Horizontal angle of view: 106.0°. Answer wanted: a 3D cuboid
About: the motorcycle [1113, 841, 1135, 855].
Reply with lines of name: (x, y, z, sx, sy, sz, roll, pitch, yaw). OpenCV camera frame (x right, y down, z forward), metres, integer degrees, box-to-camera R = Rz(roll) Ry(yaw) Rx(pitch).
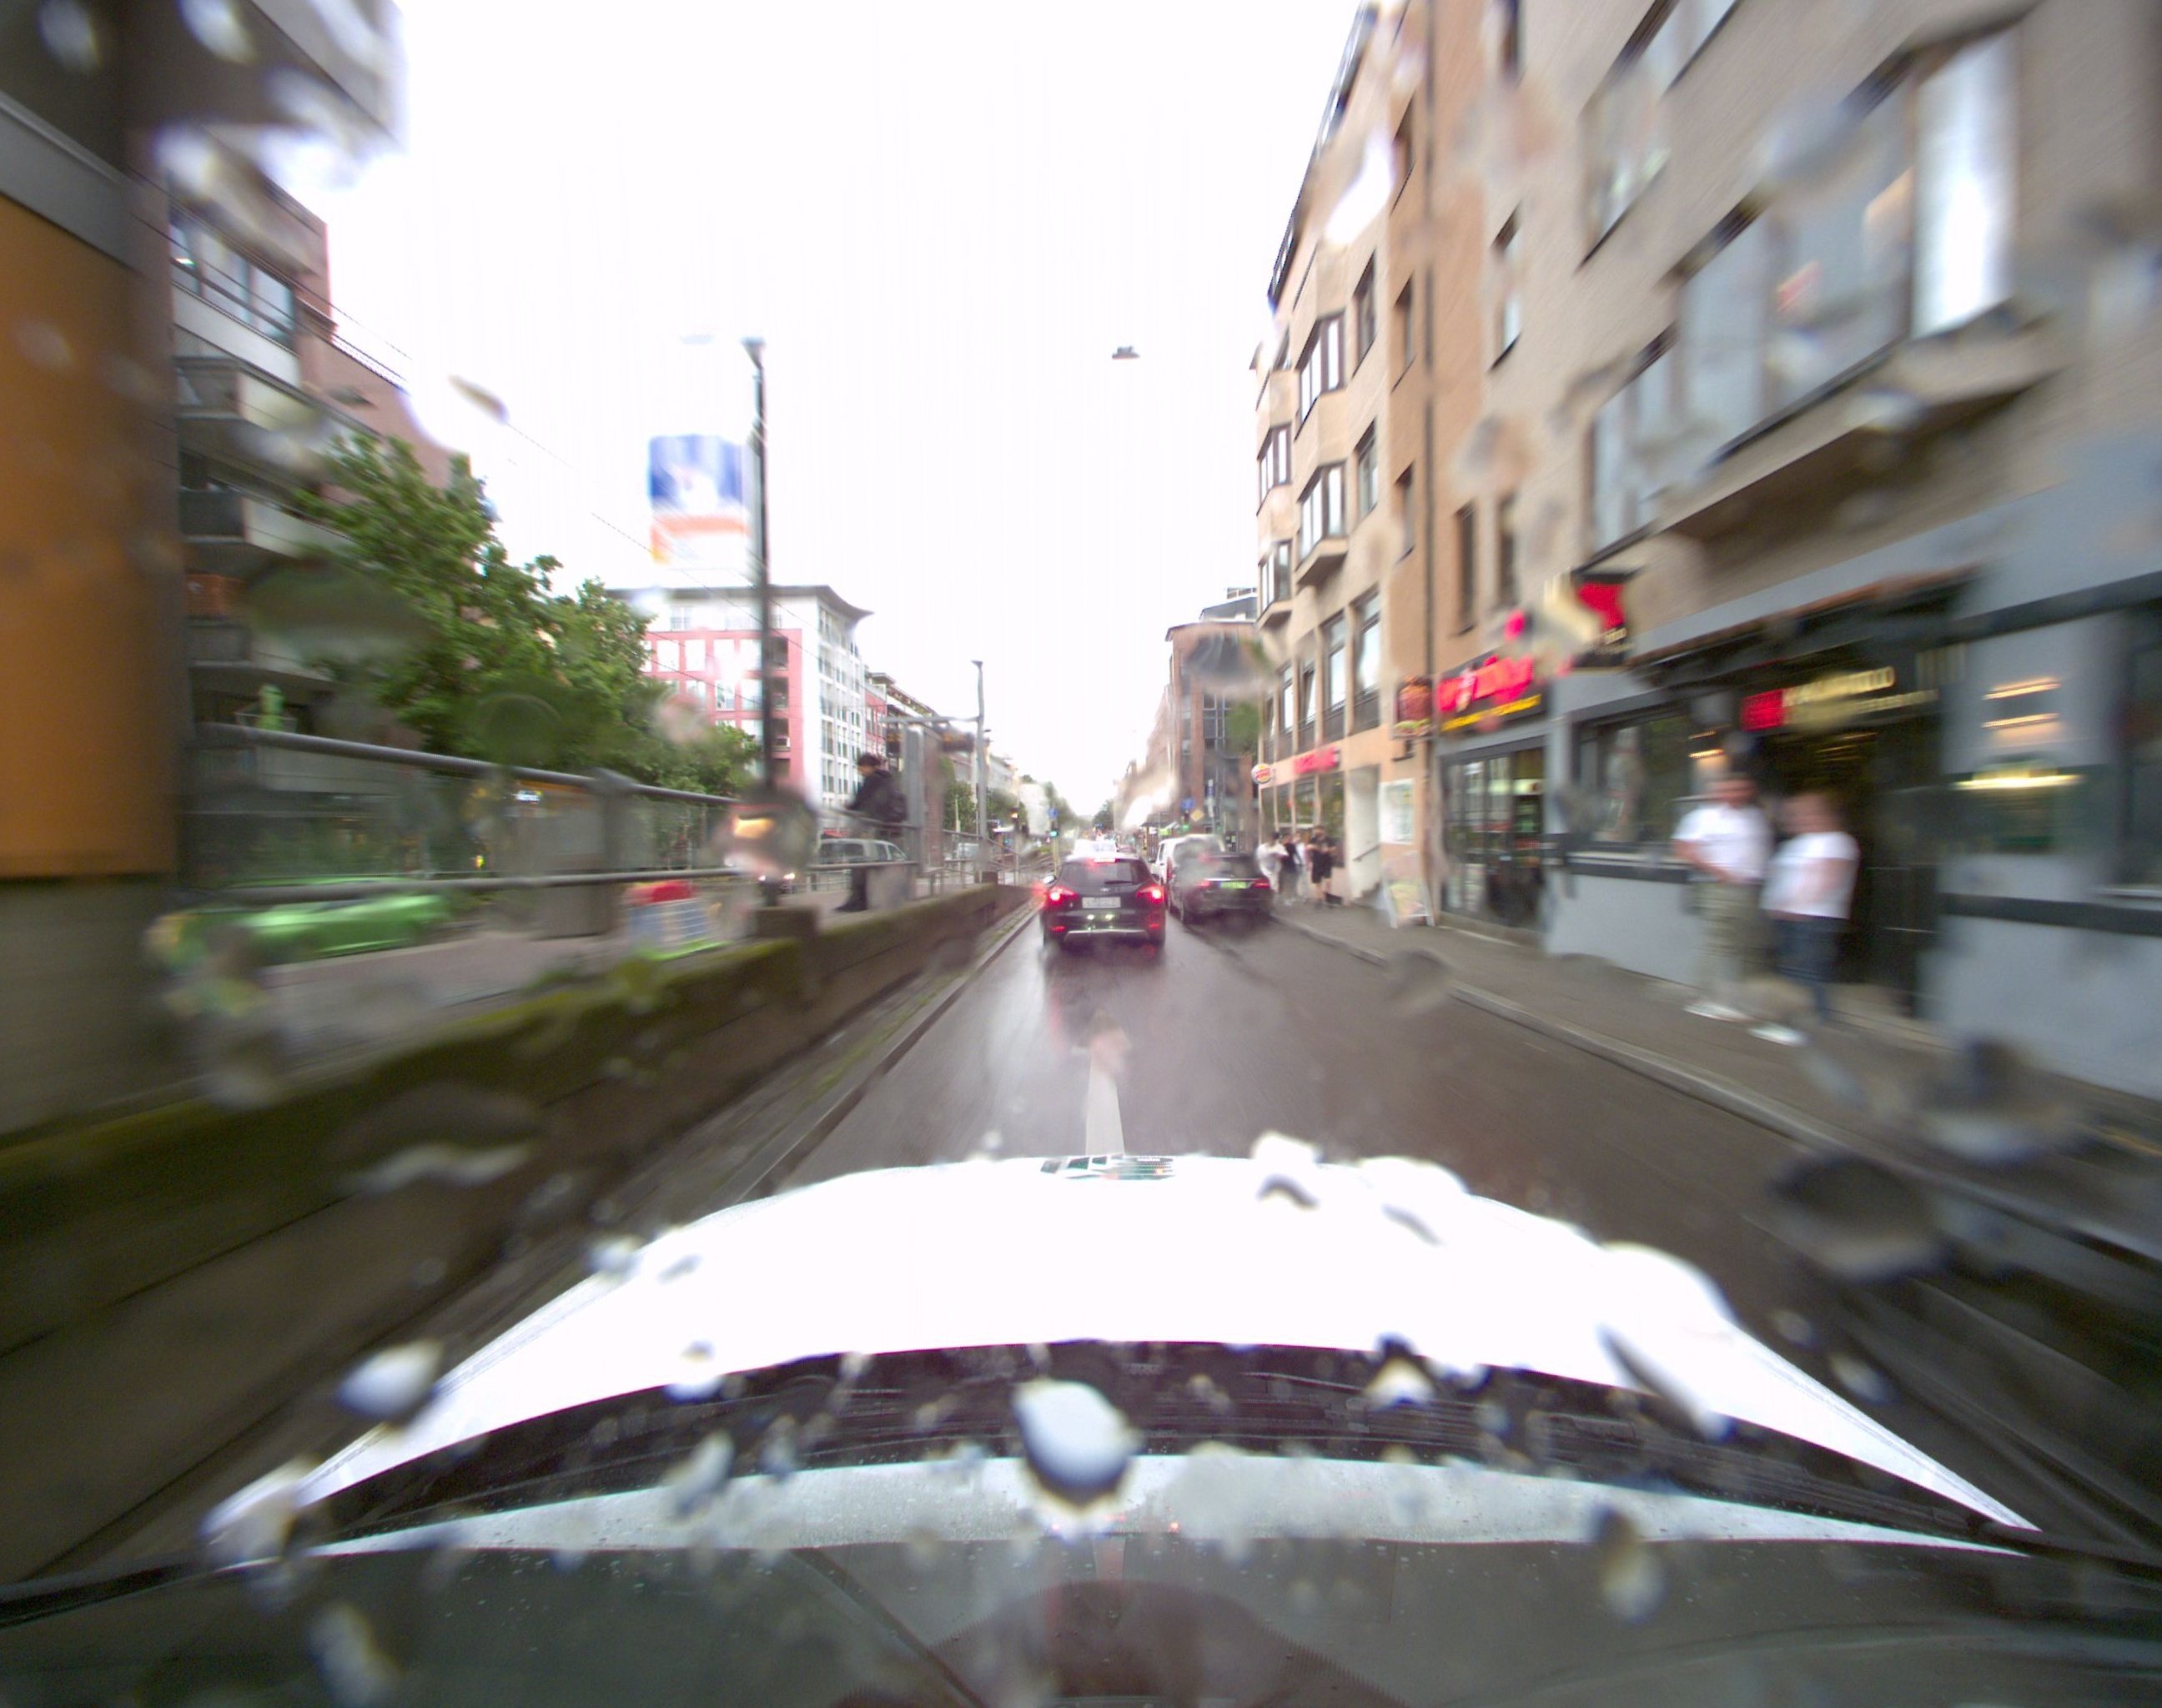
motorcycle: (4.526, -0.591, 85.260, 2.066, 1.407, 0.803, -2, 0, 19)

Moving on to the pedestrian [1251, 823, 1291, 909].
pedestrian: (4.169, 0.259, 17.946, 0.692, 1.855, 0.653, -2, 0, 2)

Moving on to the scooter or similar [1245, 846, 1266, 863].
scooter or similar: (12.649, 0.031, 59.065, 1.368, 1.227, 0.326, -2, 0, 4)

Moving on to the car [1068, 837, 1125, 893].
car: (0.597, 0.359, 29.993, 1.899, 1.864, 4.576, -1, 0, 2)

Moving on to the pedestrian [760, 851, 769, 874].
pedestrian: (-23.102, 0.608, 59.367, 0.581, 1.631, 0.606, 0, 0, -25)

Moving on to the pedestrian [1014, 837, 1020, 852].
pedestrian: (-7.867, -1.212, 99.923, 0.653, 1.801, 0.850, -2, 0, -1)

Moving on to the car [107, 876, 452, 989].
car: (-11.977, 1.079, 12.576, 1.634, 1.338, 3.733, -1, 0, -1)

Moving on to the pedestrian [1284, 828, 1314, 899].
pedestrian: (5.380, 0.241, 20.148, 0.573, 1.714, 0.477, -2, 0, 2)

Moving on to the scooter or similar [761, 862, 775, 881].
scooter or similar: (-20.493, 1.148, 53.360, 0.387, 1.191, 1.212, -2, 0, 3)

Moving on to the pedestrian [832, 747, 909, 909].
pedestrian: (-2.187, -0.263, 8.533, 0.581, 1.609, 0.701, -2, 0, -1)

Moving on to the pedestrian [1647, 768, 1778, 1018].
pedestrian: (4.936, 0.287, 6.395, 0.528, 1.858, 0.555, -2, 0, -6)

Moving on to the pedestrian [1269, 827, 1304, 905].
pedestrian: (4.668, 0.269, 18.507, 0.608, 1.714, 0.581, -2, 0, 2)

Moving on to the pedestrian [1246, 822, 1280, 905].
pedestrian: (4.374, 0.224, 19.618, 0.649, 1.948, 0.534, -2, 0, 2)

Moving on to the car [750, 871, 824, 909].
car: (-13.023, 1.544, 36.362, 1.687, 1.462, 4.528, -1, 0, -2)

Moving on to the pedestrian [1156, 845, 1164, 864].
pedestrian: (6.913, 0.020, 70.926, 0.599, 1.659, 0.626, -2, 0, 1)

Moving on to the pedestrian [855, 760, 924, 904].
pedestrian: (-2.156, -0.243, 9.240, 0.581, 1.557, 0.701, -2, 0, -1)

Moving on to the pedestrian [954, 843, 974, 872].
pedestrian: (-8.345, 0.267, 58.000, 1.112, 2.013, 1.383, -2, 0, 1)

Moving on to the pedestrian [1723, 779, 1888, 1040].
pedestrian: (4.951, 0.355, 5.596, 0.544, 1.680, 0.594, -2, 0, -6)

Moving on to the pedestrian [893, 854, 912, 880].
pedestrian: (-11.788, 0.853, 53.729, 0.872, 1.631, 0.812, 0, 2, 20)

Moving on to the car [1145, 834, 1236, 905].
car: (3.034, 0.397, 23.512, 1.901, 1.806, 4.776, -1, 0, 0)

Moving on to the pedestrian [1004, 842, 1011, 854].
pedestrian: (-8.047, -0.636, 88.851, 0.691, 1.249, 0.884, -2, 0, -1)

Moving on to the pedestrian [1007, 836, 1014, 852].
pedestrian: (-7.448, -1.057, 85.723, 0.653, 1.711, 0.850, -2, 0, -1)

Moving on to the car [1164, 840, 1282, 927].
car: (2.937, 0.558, 17.761, 1.899, 1.615, 4.415, -1, 0, 2)

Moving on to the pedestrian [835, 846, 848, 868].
pedestrian: (-18.538, 0.238, 63.021, 0.818, 1.697, 0.984, 0, 0, -7)

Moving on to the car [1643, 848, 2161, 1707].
car: (2.615, 0.730, 0.311, 1.900, 1.462, 4.246, -1, 0, 1)

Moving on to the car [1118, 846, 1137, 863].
car: (4.393, 0.080, 77.270, 1.692, 1.462, 3.869, -4, 0, 2)

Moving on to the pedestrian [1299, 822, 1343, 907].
pedestrian: (5.285, 0.222, 17.961, 0.753, 1.819, 0.588, -2, 0, 2)

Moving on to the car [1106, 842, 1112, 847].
car: (8.369, -2.811, 243.478, 1.899, 1.633, 4.576, -1, 0, 2)

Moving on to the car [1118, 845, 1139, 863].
car: (4.237, 0.021, 72.705, 1.692, 1.479, 3.870, -4, 0, 3)

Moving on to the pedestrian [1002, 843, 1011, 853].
pedestrian: (-8.295, -0.666, 90.897, 0.892, 1.123, 0.847, -2, 0, -10)

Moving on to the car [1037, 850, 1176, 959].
car: (0.411, 0.699, 13.010, 1.899, 1.462, 3.446, -1, 0, 2)
